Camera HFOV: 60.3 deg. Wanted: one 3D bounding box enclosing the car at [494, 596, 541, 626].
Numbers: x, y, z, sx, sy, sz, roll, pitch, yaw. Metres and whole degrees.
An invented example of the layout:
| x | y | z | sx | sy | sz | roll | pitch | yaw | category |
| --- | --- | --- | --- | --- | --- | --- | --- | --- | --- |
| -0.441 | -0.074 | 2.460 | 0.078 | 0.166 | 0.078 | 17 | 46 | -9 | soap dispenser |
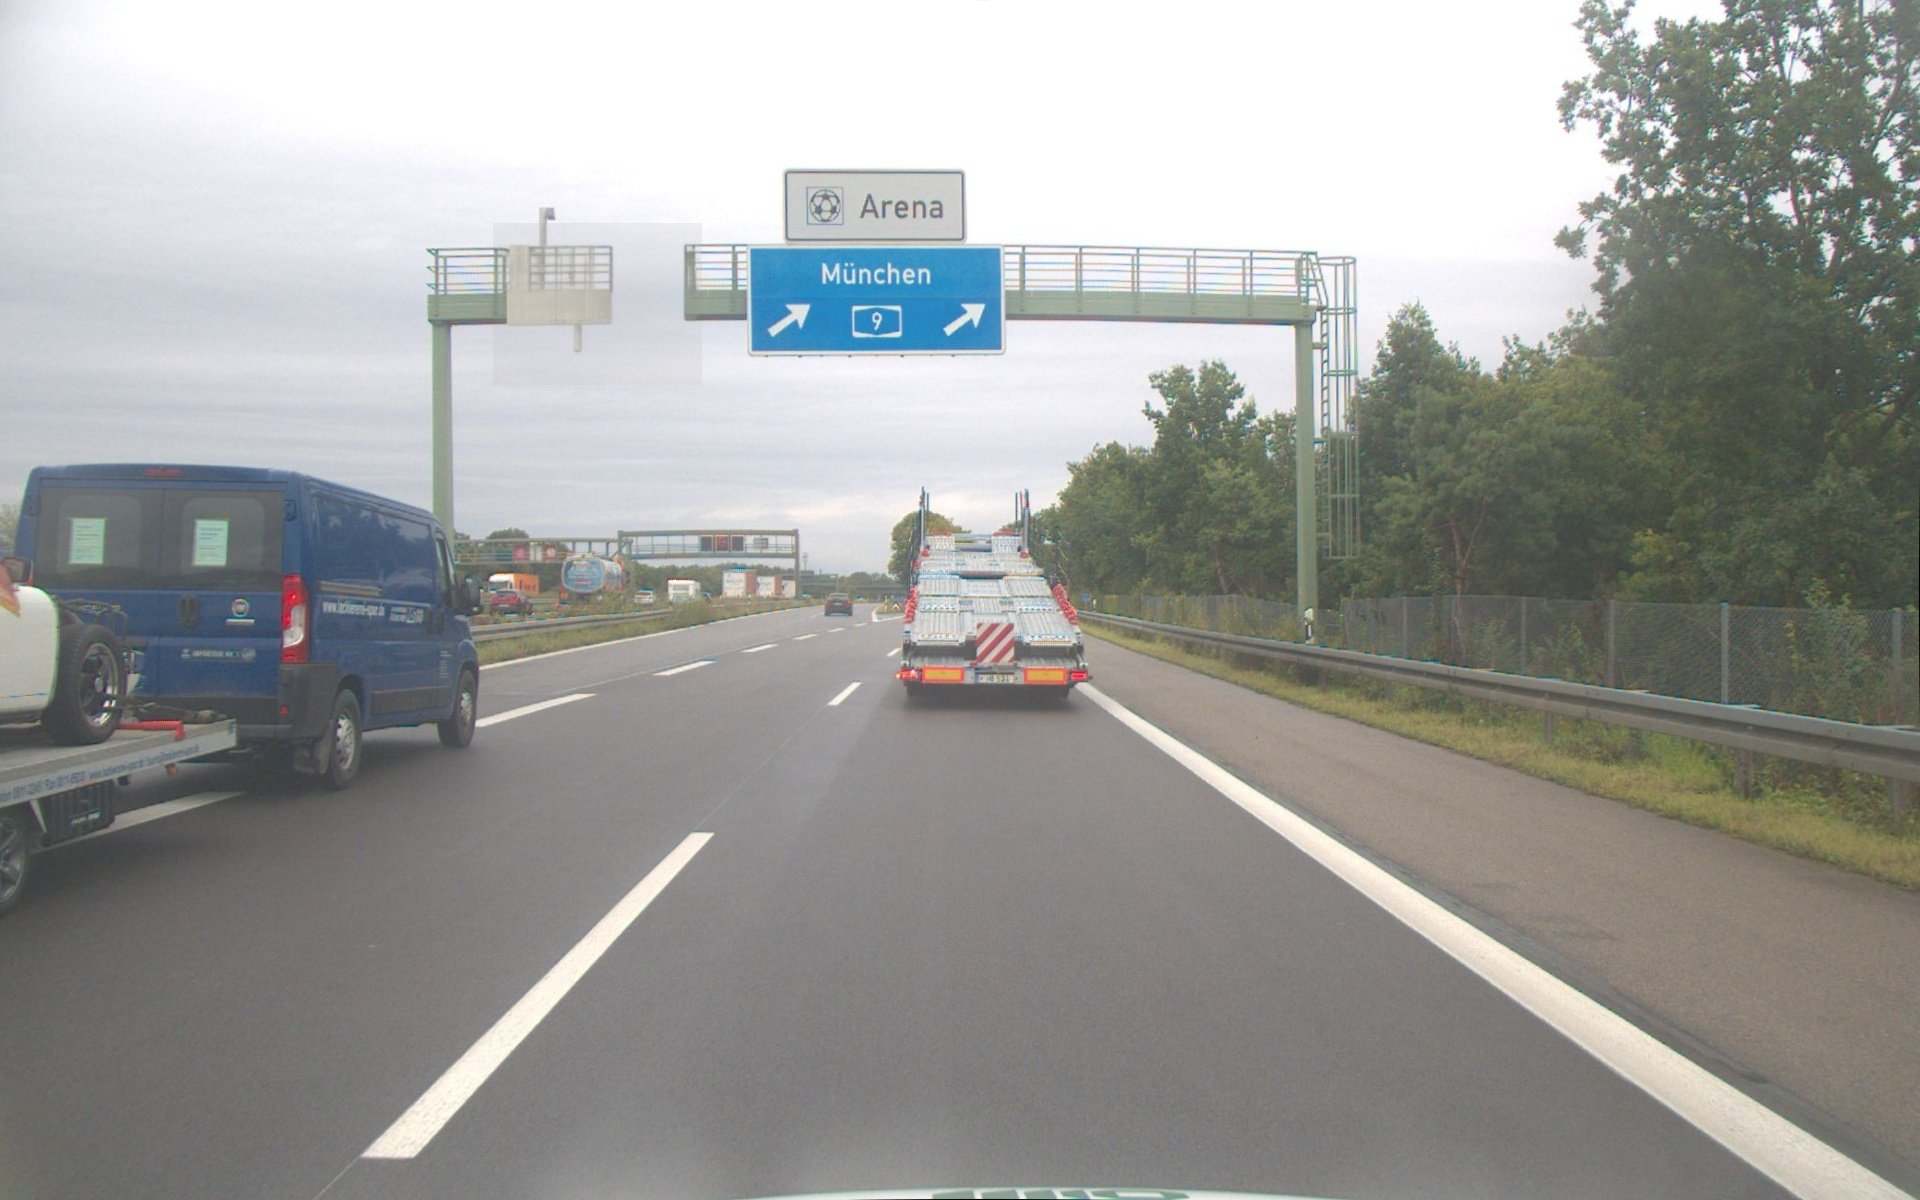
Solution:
| x | y | z | sx | sy | sz | roll | pitch | yaw | category |
| --- | --- | --- | --- | --- | --- | --- | --- | --- | --- |
| -24.748 | 0.630 | 92.602 | 1.758 | 1.584 | 3.824 | 1 | -1 | -3 | car |

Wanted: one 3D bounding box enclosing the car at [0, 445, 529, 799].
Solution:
| x | y | z | sx | sy | sz | roll | pitch | yaw | category |
| --- | --- | --- | --- | --- | --- | --- | --- | --- | --- |
| -5.543 | 0.150 | 14.112 | 2.325 | 2.306 | 6.253 | 1 | 0 | -3 | car |

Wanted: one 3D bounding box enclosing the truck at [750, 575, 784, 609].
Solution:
| x | y | z | sx | sy | sz | roll | pitch | yaw | category |
| --- | --- | --- | --- | --- | --- | --- | --- | --- | --- |
| -26.983 | -1.090 | 231.783 | 3.658 | 4.494 | 11.891 | 1 | 0 | -3 | truck |

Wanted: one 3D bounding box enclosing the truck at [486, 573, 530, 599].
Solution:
| x | y | z | sx | sy | sz | roll | pitch | yaw | category |
| --- | --- | --- | --- | --- | --- | --- | --- | --- | --- |
| -51.213 | -1.547 | 187.571 | 2.659 | 2.675 | 9.810 | 4 | 0 | -3 | truck |

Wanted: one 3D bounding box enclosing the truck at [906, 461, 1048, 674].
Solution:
| x | y | z | sx | sy | sz | roll | pitch | yaw | category |
| --- | --- | --- | --- | --- | --- | --- | --- | --- | --- |
| 0.257 | -0.650 | 36.430 | 2.683 | 4.037 | 9.127 | 1 | 0 | -1 | truck |

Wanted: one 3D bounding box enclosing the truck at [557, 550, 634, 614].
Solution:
| x | y | z | sx | sy | sz | roll | pitch | yaw | category |
| --- | --- | --- | --- | --- | --- | --- | --- | --- | --- |
| -20.612 | -0.973 | 94.017 | 2.799 | 3.424 | 8.626 | 1 | 0 | -3 | truck |

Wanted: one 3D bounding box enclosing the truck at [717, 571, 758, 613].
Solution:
| x | y | z | sx | sy | sz | roll | pitch | yaw | category |
| --- | --- | --- | --- | --- | --- | --- | --- | --- | --- |
| -24.900 | -0.904 | 185.550 | 3.658 | 4.494 | 10.190 | 1 | 0 | -3 | truck |

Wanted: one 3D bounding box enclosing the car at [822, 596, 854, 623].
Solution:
| x | y | z | sx | sy | sz | roll | pitch | yaw | category |
| --- | --- | --- | --- | --- | --- | --- | --- | --- | --- |
| -7.919 | 0.639 | 107.817 | 1.922 | 1.666 | 5.622 | 1 | -1 | -3 | car |

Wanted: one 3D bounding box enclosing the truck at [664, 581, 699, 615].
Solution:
| x | y | z | sx | sy | sz | roll | pitch | yaw | category |
| --- | --- | --- | --- | --- | --- | --- | --- | --- | --- |
| -23.154 | -0.155 | 137.731 | 2.198 | 2.751 | 5.276 | 1 | 0 | -3 | truck |

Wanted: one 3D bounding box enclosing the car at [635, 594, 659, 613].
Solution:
| x | y | z | sx | sy | sz | roll | pitch | yaw | category |
| --- | --- | --- | --- | --- | --- | --- | --- | --- | --- |
| -27.205 | 0.271 | 143.899 | 1.650 | 1.557 | 3.996 | 1 | 0 | -5 | car |

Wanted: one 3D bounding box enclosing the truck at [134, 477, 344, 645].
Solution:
| x | y | z | sx | sy | sz | roll | pitch | yaw | category |
| --- | --- | --- | --- | --- | --- | --- | --- | --- | --- |
| -18.202 | -0.879 | 42.299 | 2.586 | 3.879 | 7.336 | 1 | -1 | -5 | truck |

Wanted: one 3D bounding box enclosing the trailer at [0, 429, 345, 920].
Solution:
| x | y | z | sx | sy | sz | roll | pitch | yaw | category |
| --- | --- | --- | --- | --- | --- | --- | --- | --- | --- |
| -5.211 | 0.284 | 7.549 | 2.435 | 2.029 | 7.059 | 1 | 0 | -3 | trailer |

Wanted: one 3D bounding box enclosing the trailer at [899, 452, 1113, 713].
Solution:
| x | y | z | sx | sy | sz | roll | pitch | yaw | category |
| --- | --- | --- | --- | --- | --- | --- | --- | --- | --- |
| 0.458 | -0.253 | 26.707 | 2.721 | 3.342 | 10.403 | 1 | 0 | -2 | trailer |
